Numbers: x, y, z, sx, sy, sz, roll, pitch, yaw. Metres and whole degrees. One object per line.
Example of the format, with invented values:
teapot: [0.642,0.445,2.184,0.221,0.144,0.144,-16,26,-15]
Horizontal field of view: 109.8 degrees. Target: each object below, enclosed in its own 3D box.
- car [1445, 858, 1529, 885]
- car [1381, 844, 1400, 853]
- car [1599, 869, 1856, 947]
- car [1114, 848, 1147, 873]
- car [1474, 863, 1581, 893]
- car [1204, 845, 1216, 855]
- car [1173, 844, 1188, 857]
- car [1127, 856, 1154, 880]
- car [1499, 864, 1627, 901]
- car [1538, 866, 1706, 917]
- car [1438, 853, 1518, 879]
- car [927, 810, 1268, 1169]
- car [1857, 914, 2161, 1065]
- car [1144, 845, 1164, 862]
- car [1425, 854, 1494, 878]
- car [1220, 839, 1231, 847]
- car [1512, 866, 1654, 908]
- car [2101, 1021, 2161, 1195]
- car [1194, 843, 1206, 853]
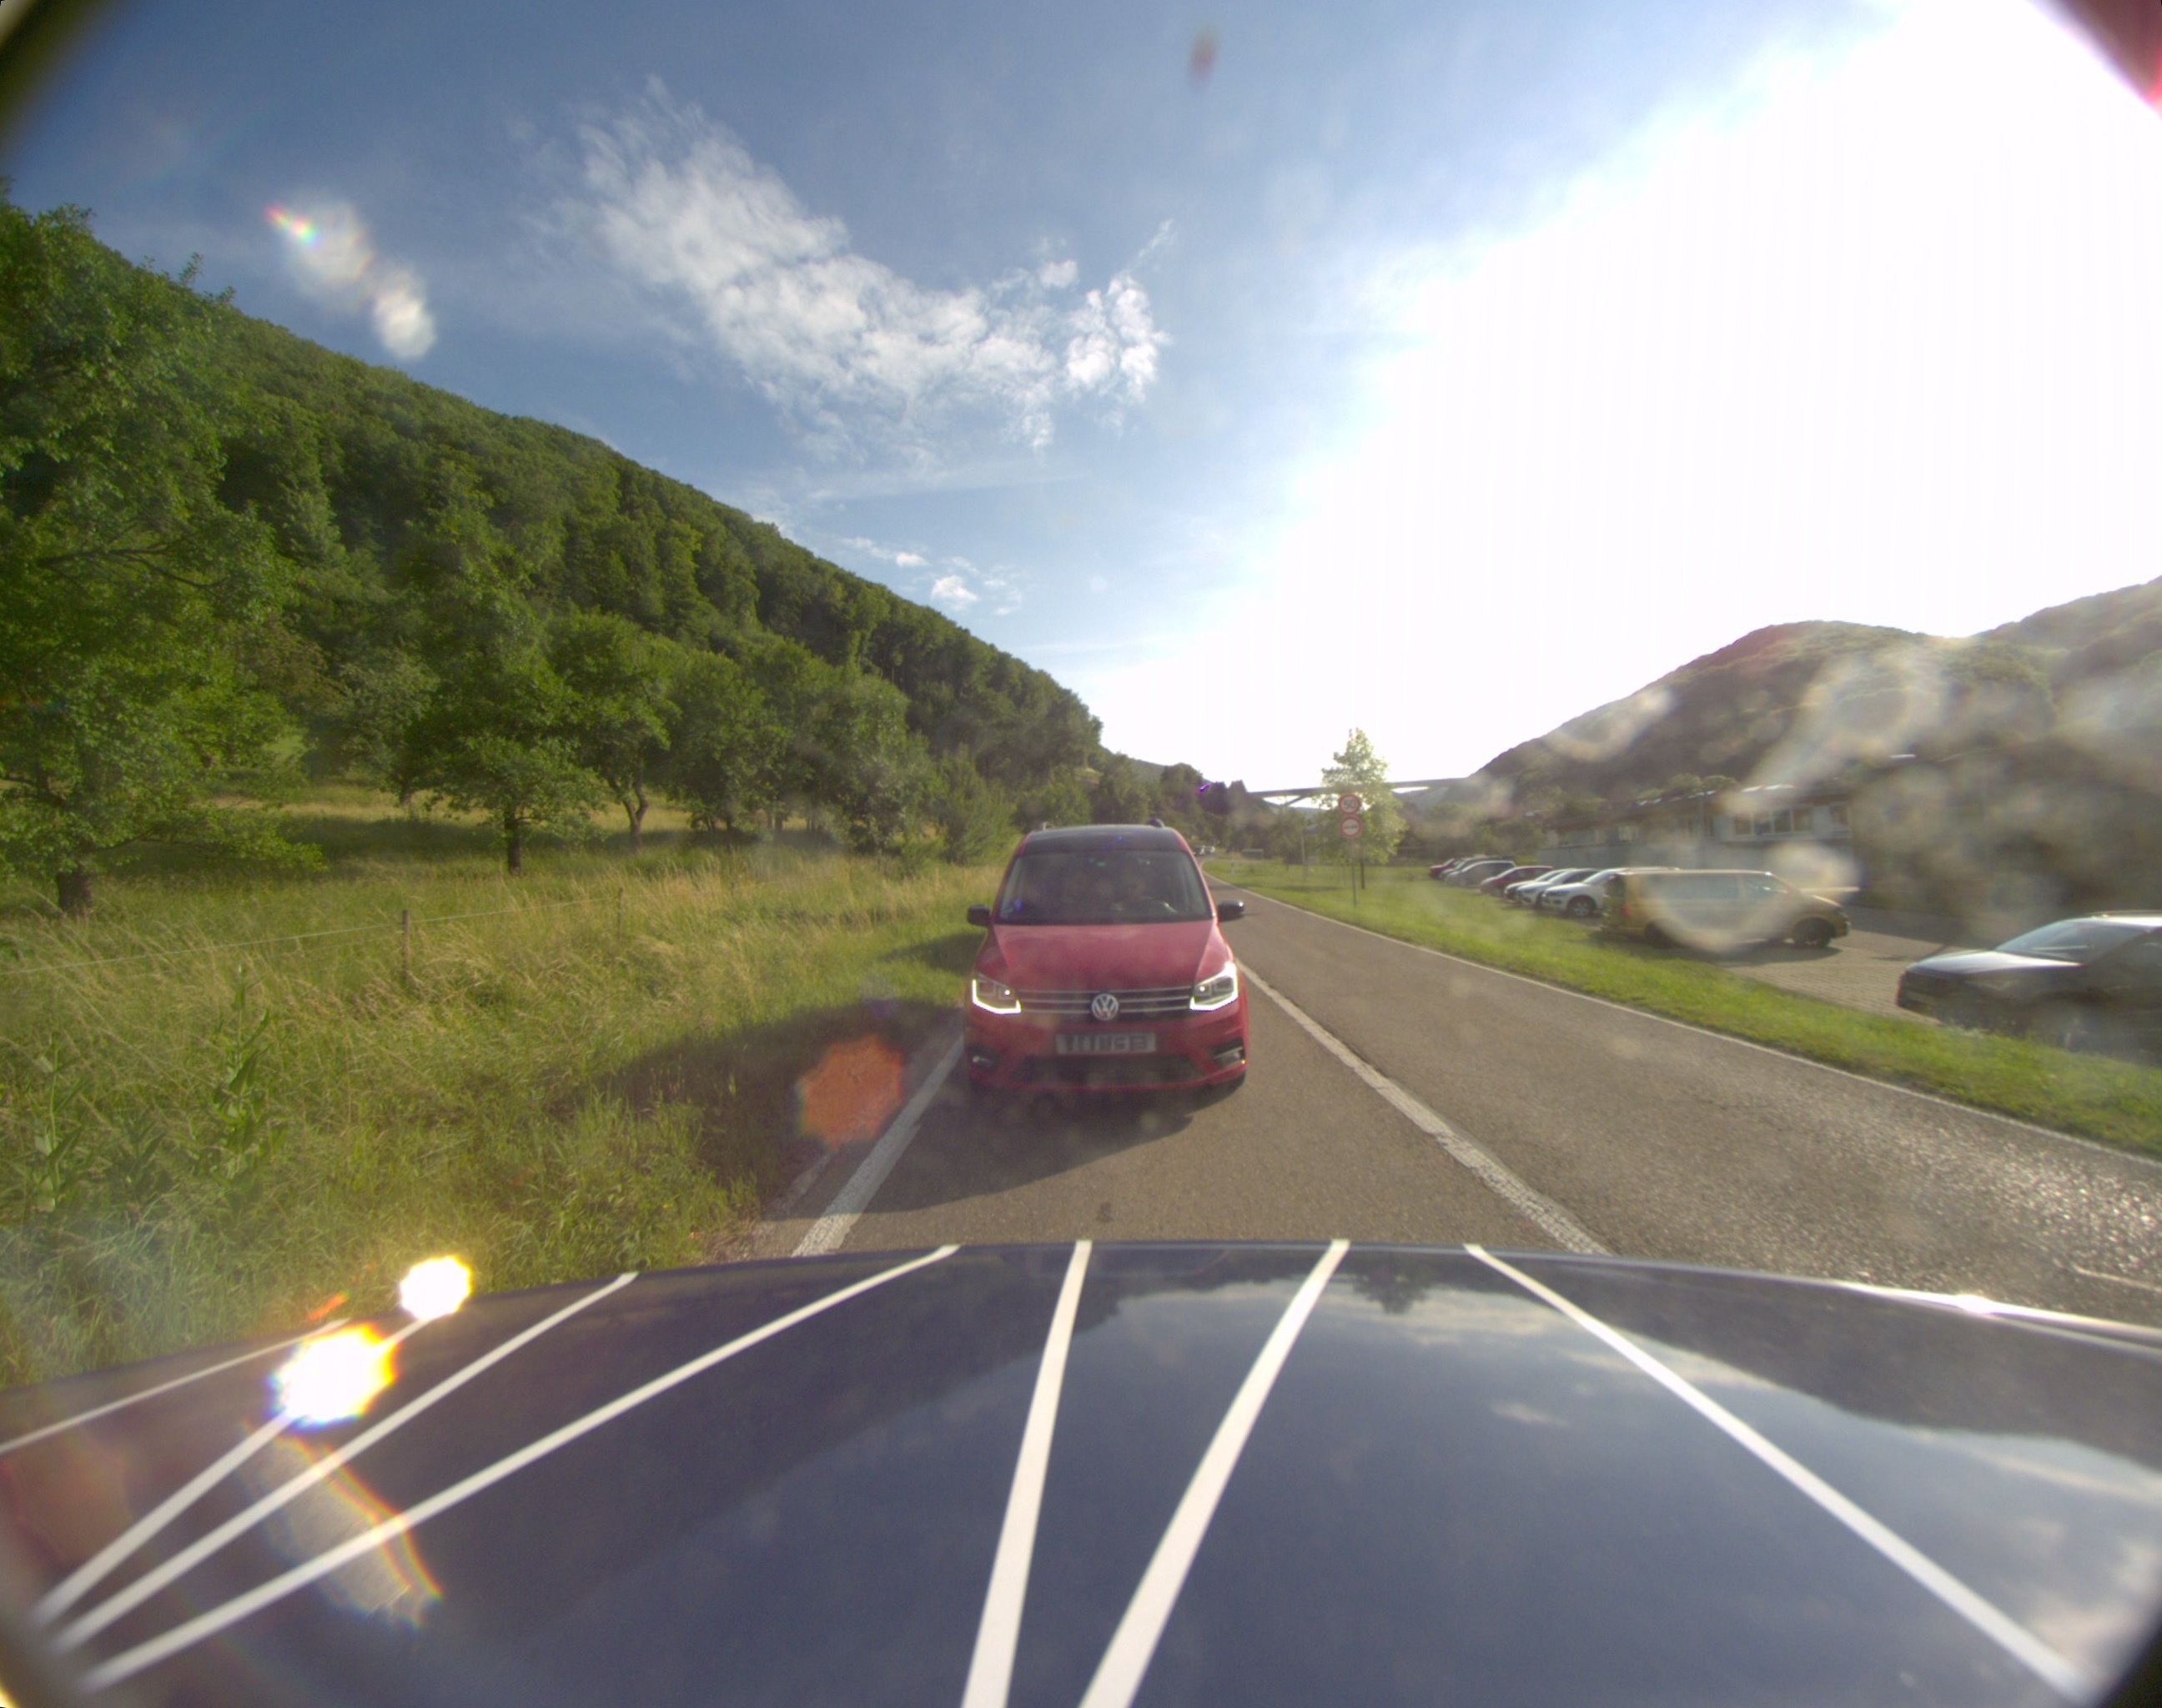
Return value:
car: [25.800,1.100,48.476,4.437,1.573,2.003,-2,0,18]
car: [57.483,-1.047,141.170,1.994,1.518,4.783,-1,0,38]
car: [16.473,1.323,19.697,4.653,1.802,2.003,-1,0,20]
car: [3.124,0.422,48.595,1.798,1.464,4.283,-2,0,1]
car: [22.697,1.237,38.829,4.437,1.443,2.003,-1,0,20]
car: [25.052,-0.721,147.424,1.997,1.706,4.005,-3,-2,14]
car: [14.152,-0.535,107.842,1.797,1.725,4.287,-2,0,13]
car: [4.909,1.159,63.315,1.998,1.838,4.001,-2,0,2]
car: [21.404,1.261,33.954,4.437,1.573,2.003,-1,0,18]
car: [19.319,1.318,27.402,4.545,1.691,2.003,-1,0,20]
car: [27.598,0.833,52.937,4.665,1.752,2.003,-1,0,18]
car: [0.117,0.732,6.191,1.747,1.849,4.348,-2,0,1]
car: [13.529,1.703,9.949,4.289,1.628,1.915,-3,0,15]
car: [7.580,-0.014,78.987,1.912,1.675,4.002,-2,-1,7]
car: [28.887,0.920,58.111,4.437,1.709,2.003,-1,0,18]
car: [33.134,-2.534,174.219,1.909,1.893,4.004,-2,1,17]
car: [20.194,1.315,30.799,4.437,1.577,2.003,-1,0,20]
car: [12.086,2.365,5.988,4.645,1.488,1.915,-1,0,15]
car: [20.900,-1.026,133.299,1.677,1.637,3.350,-2,0,14]
